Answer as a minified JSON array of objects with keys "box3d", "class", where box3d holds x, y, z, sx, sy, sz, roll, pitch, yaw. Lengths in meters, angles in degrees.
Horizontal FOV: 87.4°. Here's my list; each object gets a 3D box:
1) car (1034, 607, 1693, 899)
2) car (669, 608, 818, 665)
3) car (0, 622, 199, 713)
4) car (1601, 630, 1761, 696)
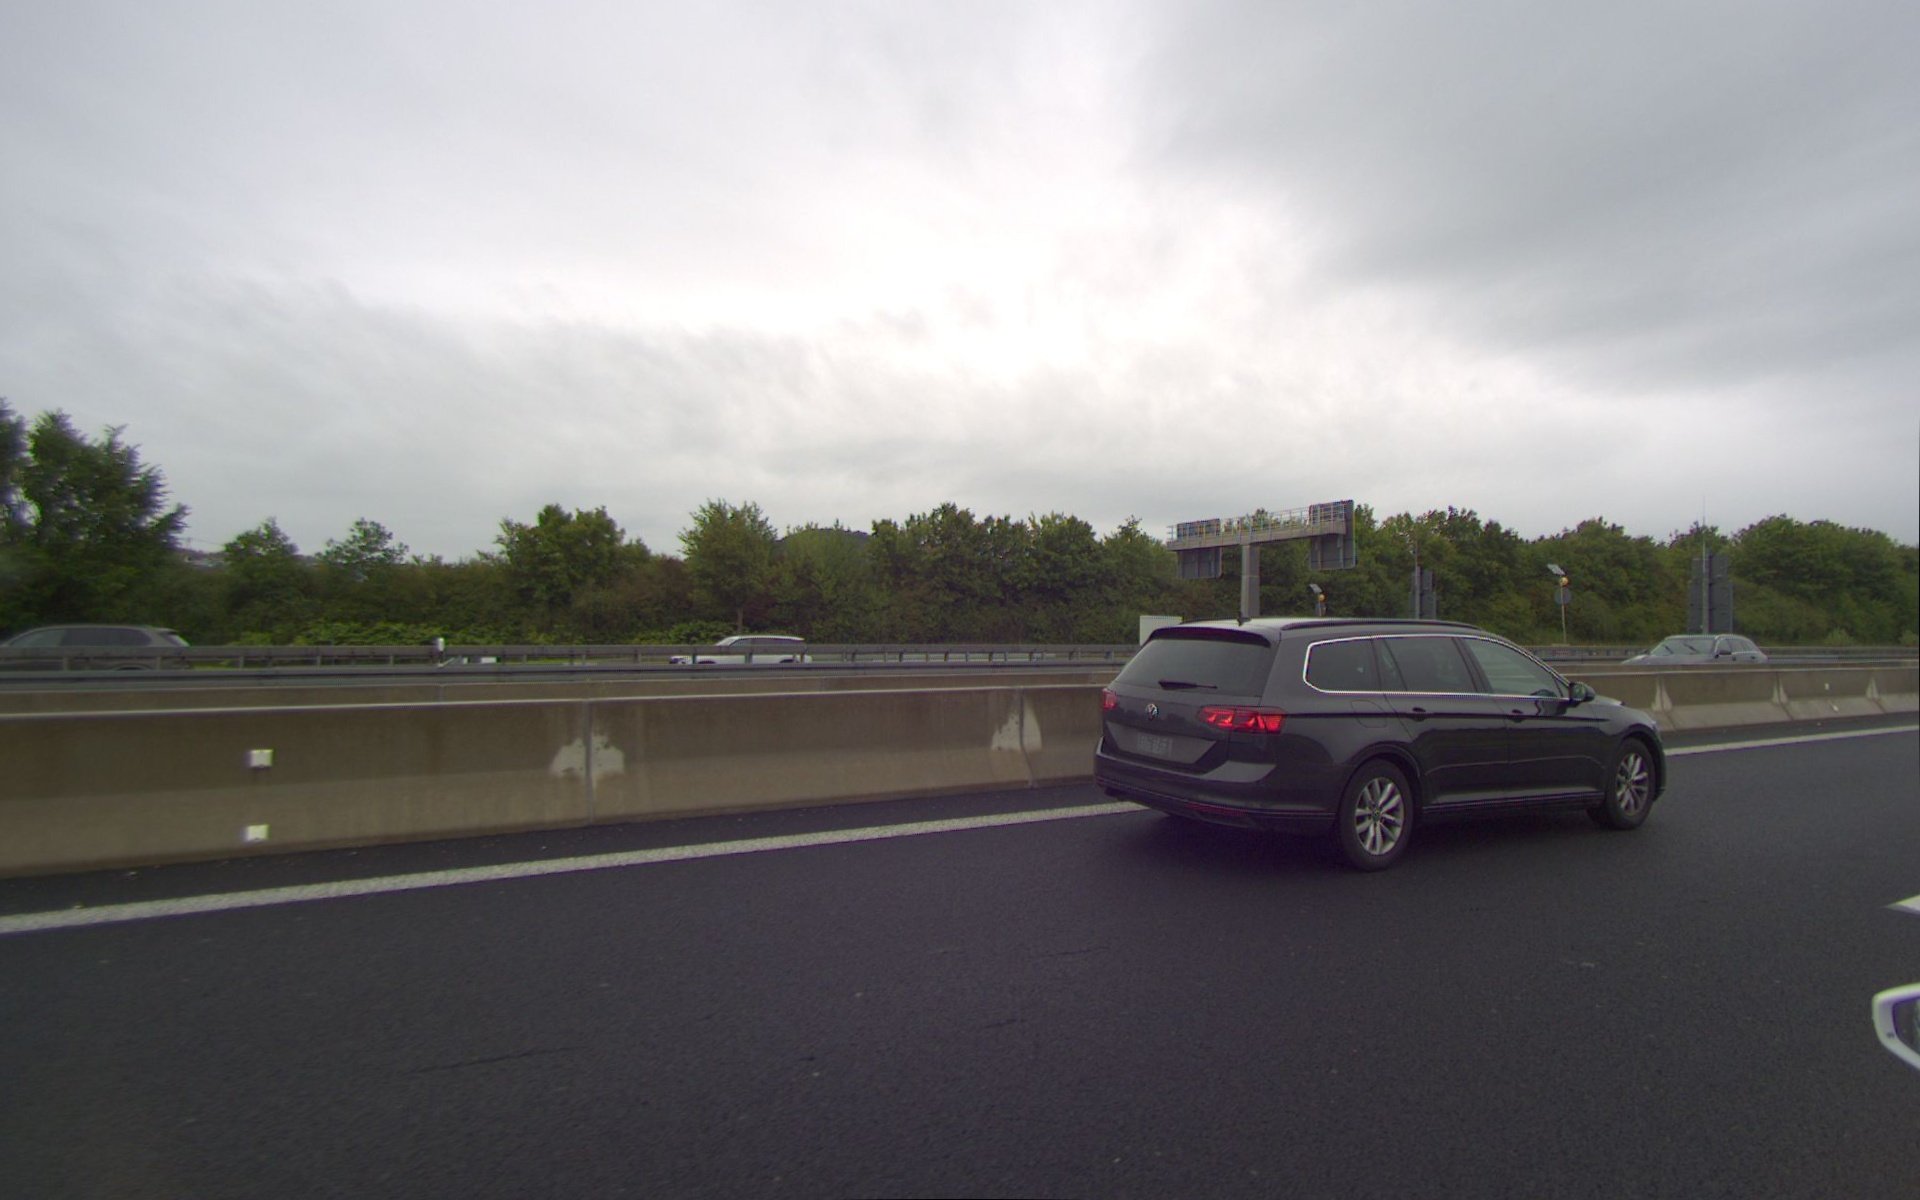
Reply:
[{"box3d":[2.992,0.848,7.124,4.745,1.478,1.779,2,0,-30],"class":"car"},{"box3d":[-7.115,1.200,33.108,4.452,1.785,1.984,1,-2,-30],"class":"car"},{"box3d":[-19.569,1.434,21.968,4.410,1.832,1.894,1,-1,-31],"class":"car"},{"box3d":[17.944,1.516,24.962,3.953,1.528,1.789,1,-2,-30],"class":"car"}]
